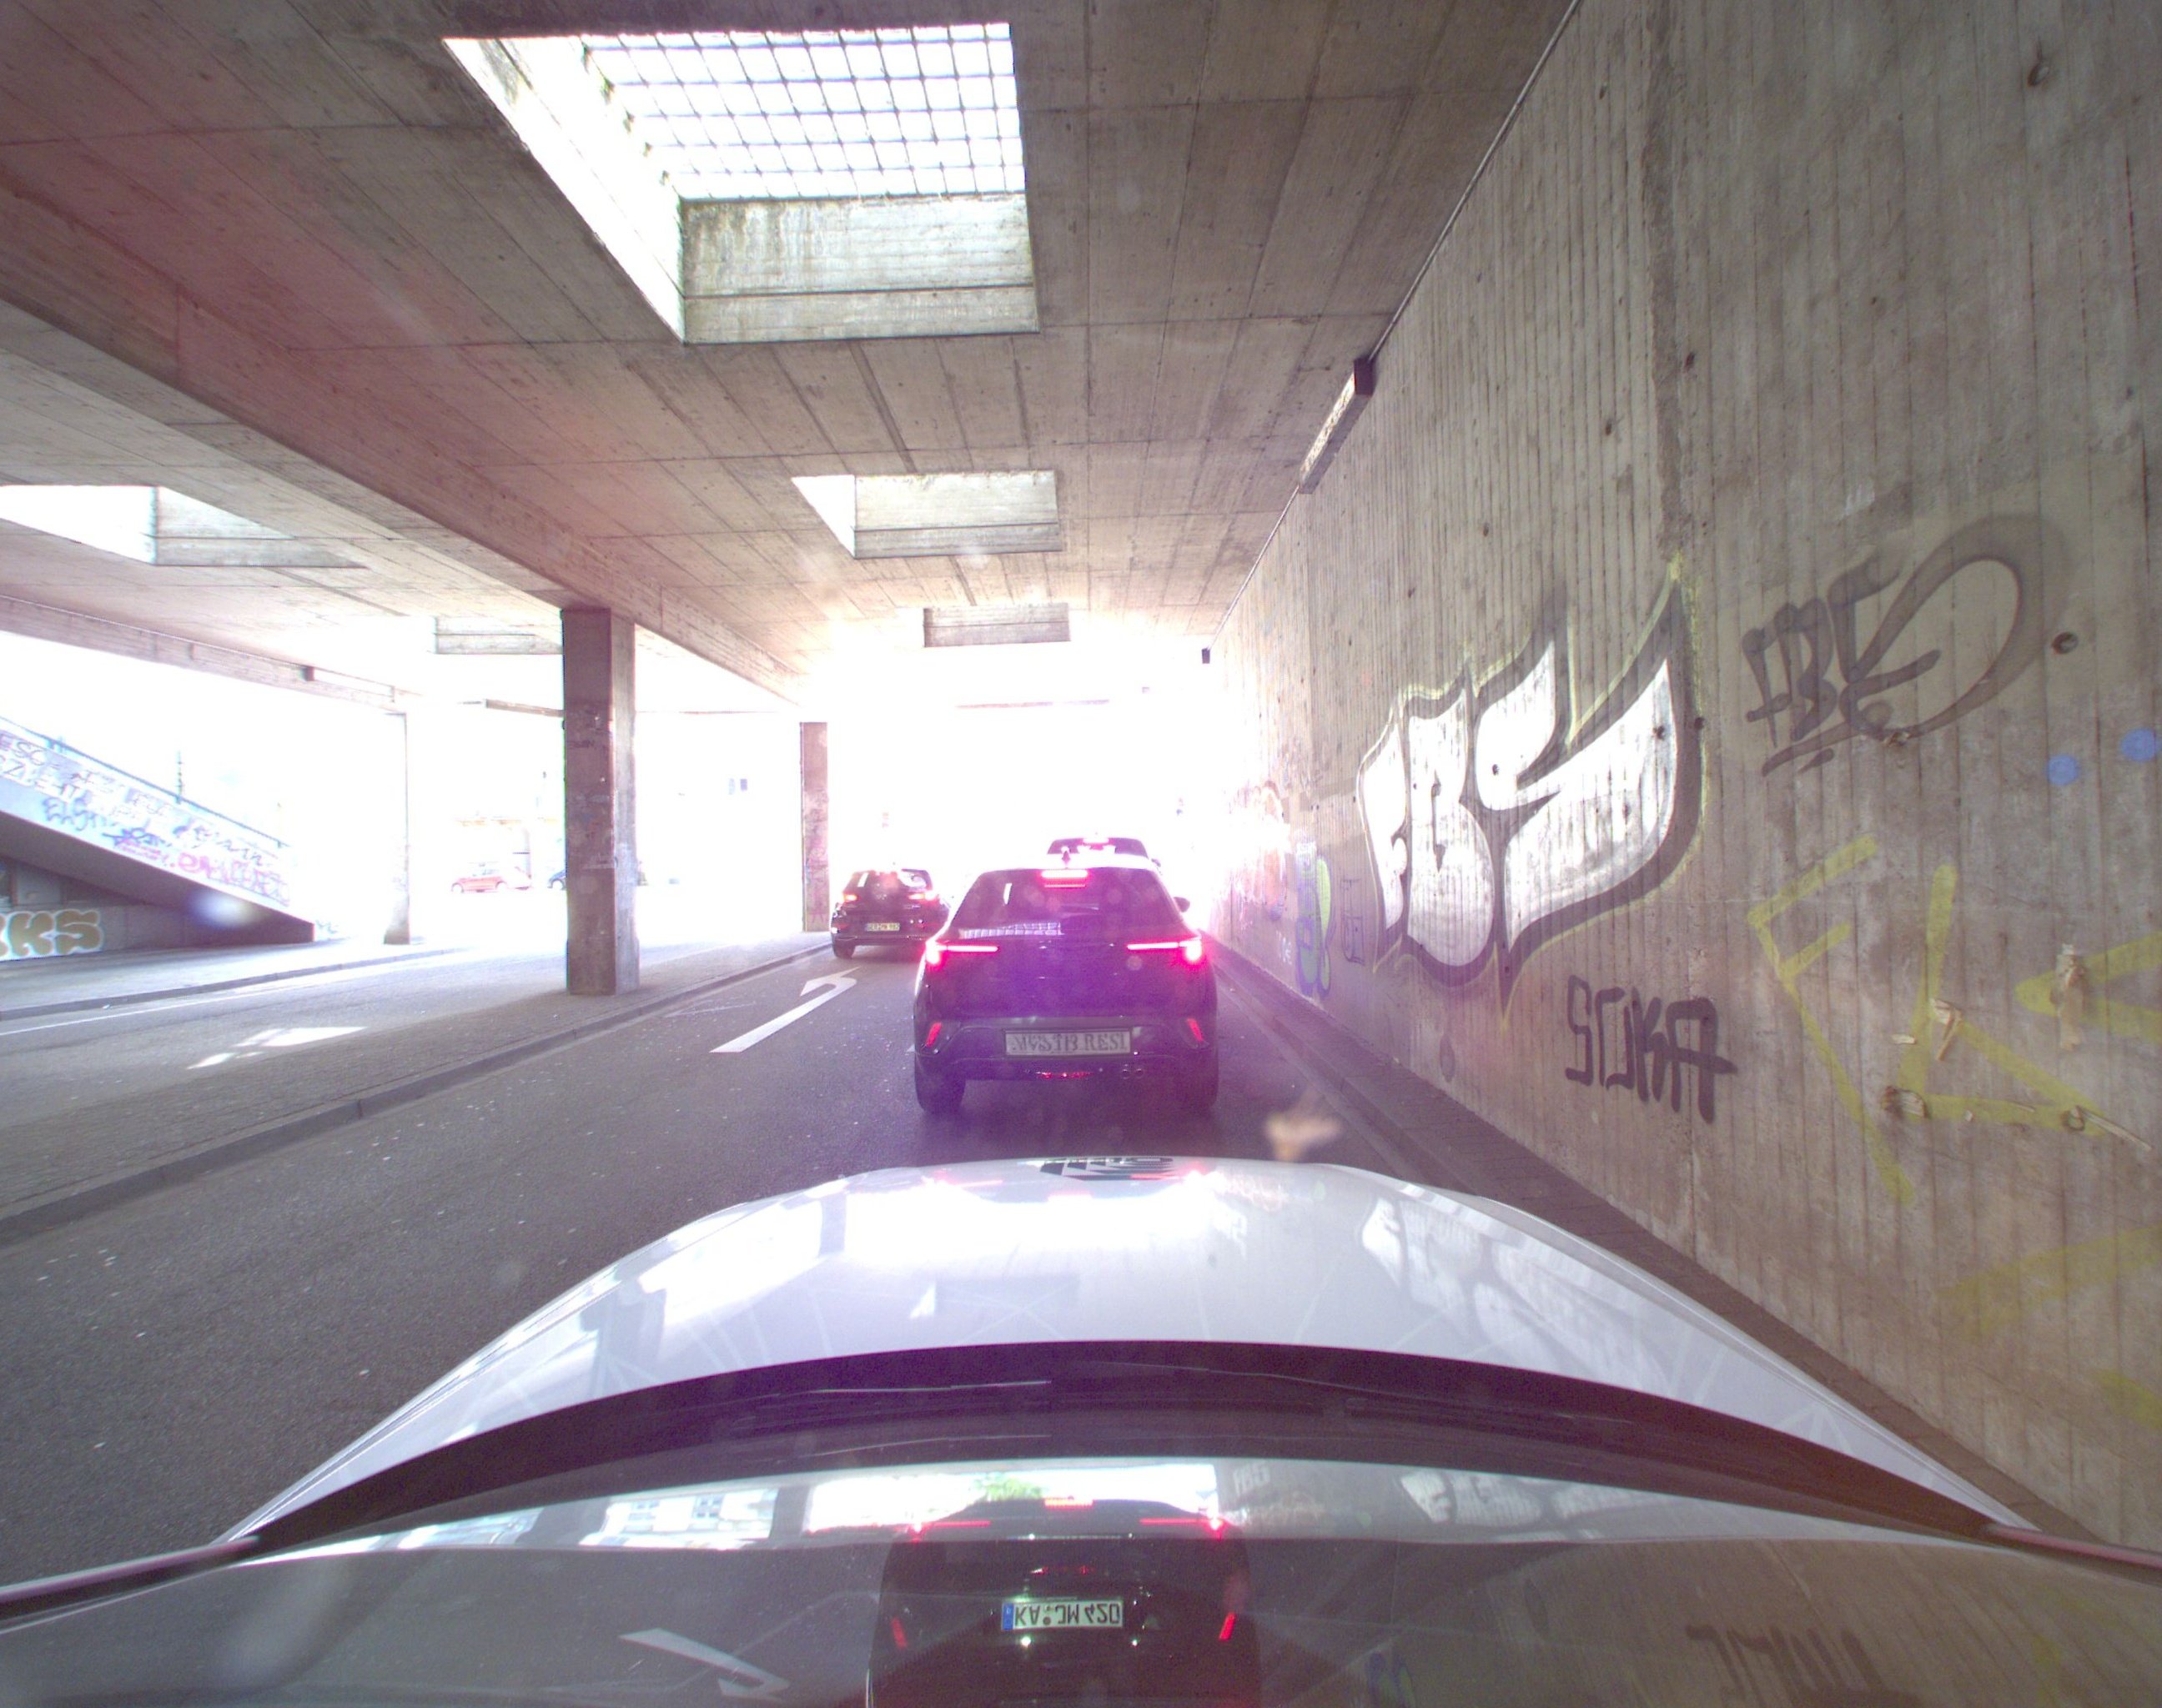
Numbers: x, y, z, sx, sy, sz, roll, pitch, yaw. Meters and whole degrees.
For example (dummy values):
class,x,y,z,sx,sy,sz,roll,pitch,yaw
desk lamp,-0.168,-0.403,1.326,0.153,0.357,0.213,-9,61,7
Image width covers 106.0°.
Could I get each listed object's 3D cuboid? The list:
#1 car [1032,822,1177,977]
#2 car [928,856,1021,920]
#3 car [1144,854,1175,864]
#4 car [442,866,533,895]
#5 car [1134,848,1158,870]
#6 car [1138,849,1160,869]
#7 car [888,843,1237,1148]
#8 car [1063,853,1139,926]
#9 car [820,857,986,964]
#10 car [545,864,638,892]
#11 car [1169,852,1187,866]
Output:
class,x,y,z,sx,sy,sz,roll,pitch,yaw
car,0.353,0.569,12.148,1.755,1.883,4.148,-1,0,2
car,-2.663,0.798,21.196,1.755,1.480,3.846,-1,0,2
car,12.848,0.854,133.671,4.814,1.667,1.812,0,-1,-19
car,-32.930,1.450,45.254,3.748,1.475,1.749,-1,-1,0
car,4.967,0.380,62.235,1.745,1.667,3.950,0,-1,6
car,5.755,0.423,68.339,1.745,1.667,3.950,0,-1,6
car,-0.032,0.729,6.209,1.755,1.531,4.091,-1,0,2
car,0.490,0.763,19.366,1.603,1.513,4.055,-1,0,2
car,-2.752,0.802,13.468,1.755,1.480,3.846,-1,0,2
car,-27.174,1.327,45.276,4.096,1.475,1.737,-1,-1,0
car,11.370,0.603,95.577,1.742,1.667,3.956,-1,-1,11
